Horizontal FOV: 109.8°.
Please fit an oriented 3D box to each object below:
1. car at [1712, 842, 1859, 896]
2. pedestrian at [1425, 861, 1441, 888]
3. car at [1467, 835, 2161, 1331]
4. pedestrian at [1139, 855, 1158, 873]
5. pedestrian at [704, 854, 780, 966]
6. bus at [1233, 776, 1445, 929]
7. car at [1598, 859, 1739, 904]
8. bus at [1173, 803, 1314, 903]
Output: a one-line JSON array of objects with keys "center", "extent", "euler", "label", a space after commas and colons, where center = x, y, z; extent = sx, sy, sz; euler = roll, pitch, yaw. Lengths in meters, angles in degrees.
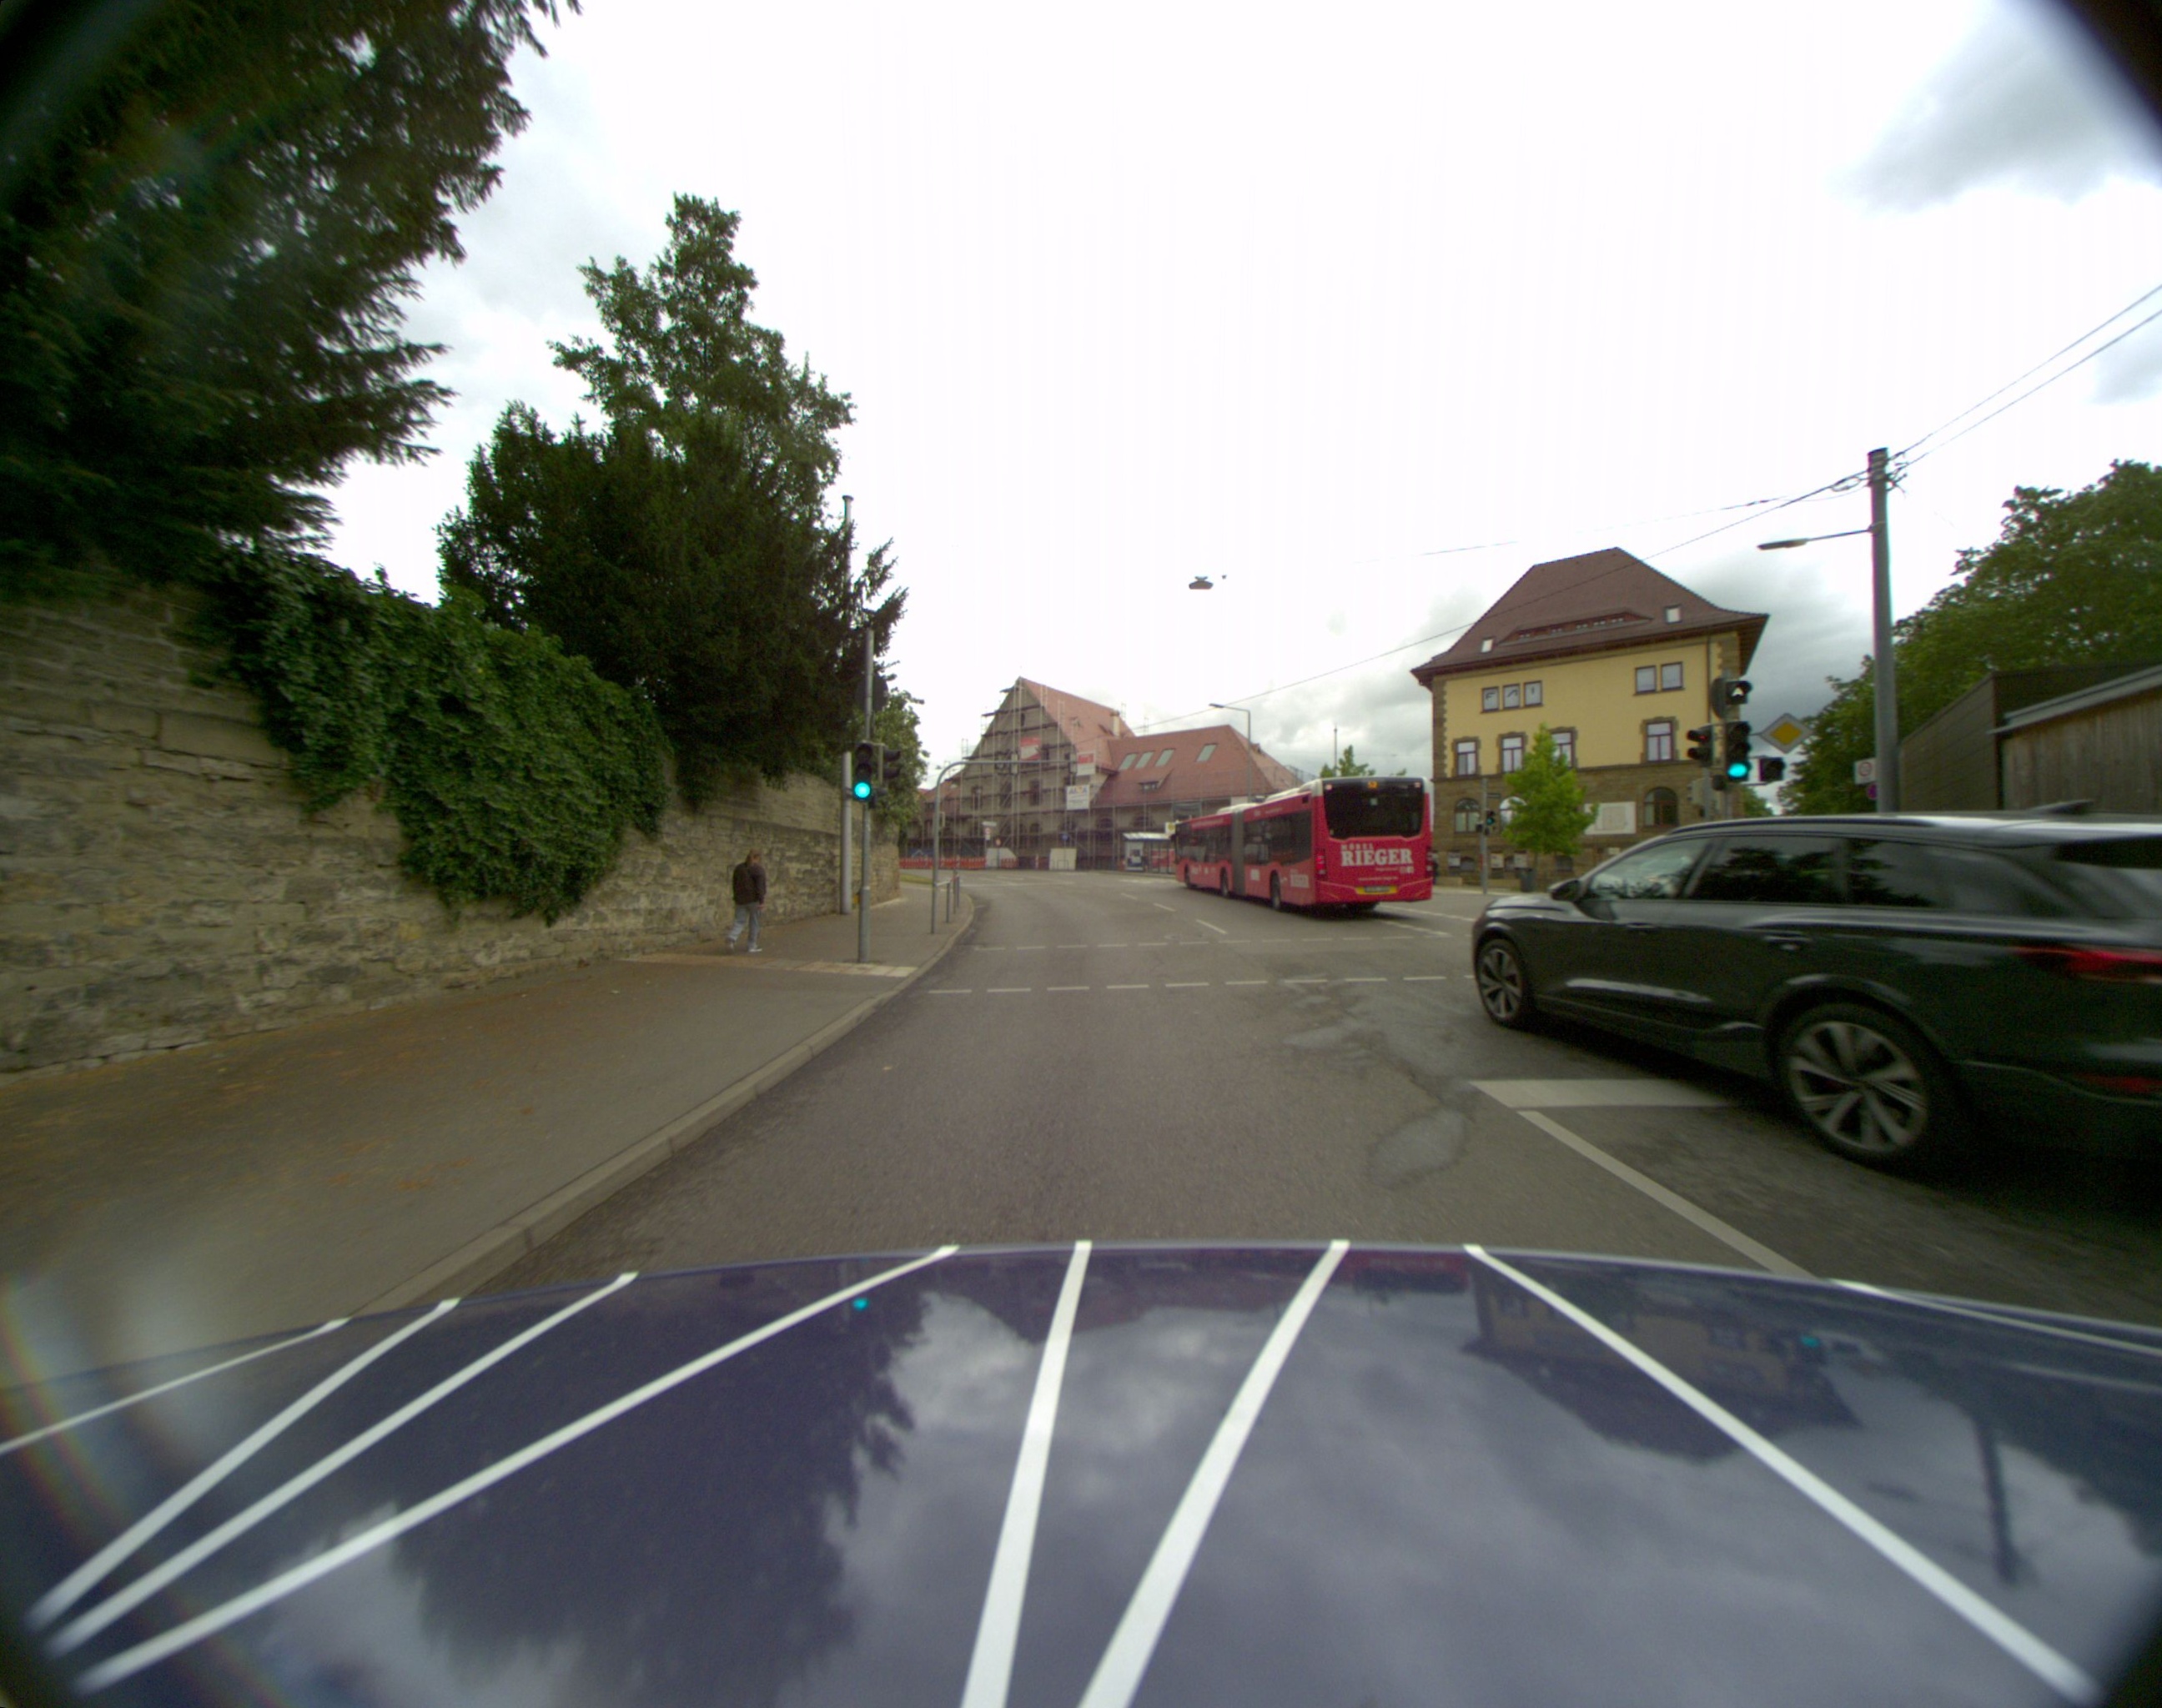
[{"center": [27.625, 0.580, 29.782], "extent": [5.594, 2.002, 1.996], "euler": [1, 1, -22], "label": "car"}, {"center": [20.780, 1.189, 44.820], "extent": [0.541, 1.568, 0.651], "euler": [0, 1, -37], "label": "pedestrian"}, {"center": [4.487, 0.727, 4.591], "extent": [1.927, 1.621, 4.521], "euler": [-1, 1, -1], "label": "car"}, {"center": [4.608, 0.685, 52.006], "extent": [0.937, 1.185, 0.903], "euler": [3, 0, -24], "label": "pedestrian"}, {"center": [-4.970, 0.799, 11.177], "extent": [0.733, 1.567, 0.743], "euler": [2, 0, -1], "label": "pedestrian"}, {"center": [6.179, -0.035, 19.899], "extent": [2.664, 3.103, 8.292], "euler": [-2, 0, 0], "label": "bus"}, {"center": [20.991, 0.977, 27.186], "extent": [4.278, 1.504, 1.996], "euler": [1, 0, -20], "label": "car"}, {"center": [5.781, -0.026, 29.095], "extent": [2.665, 3.103, 10.015], "euler": [-1, 0, -3], "label": "bus"}]
